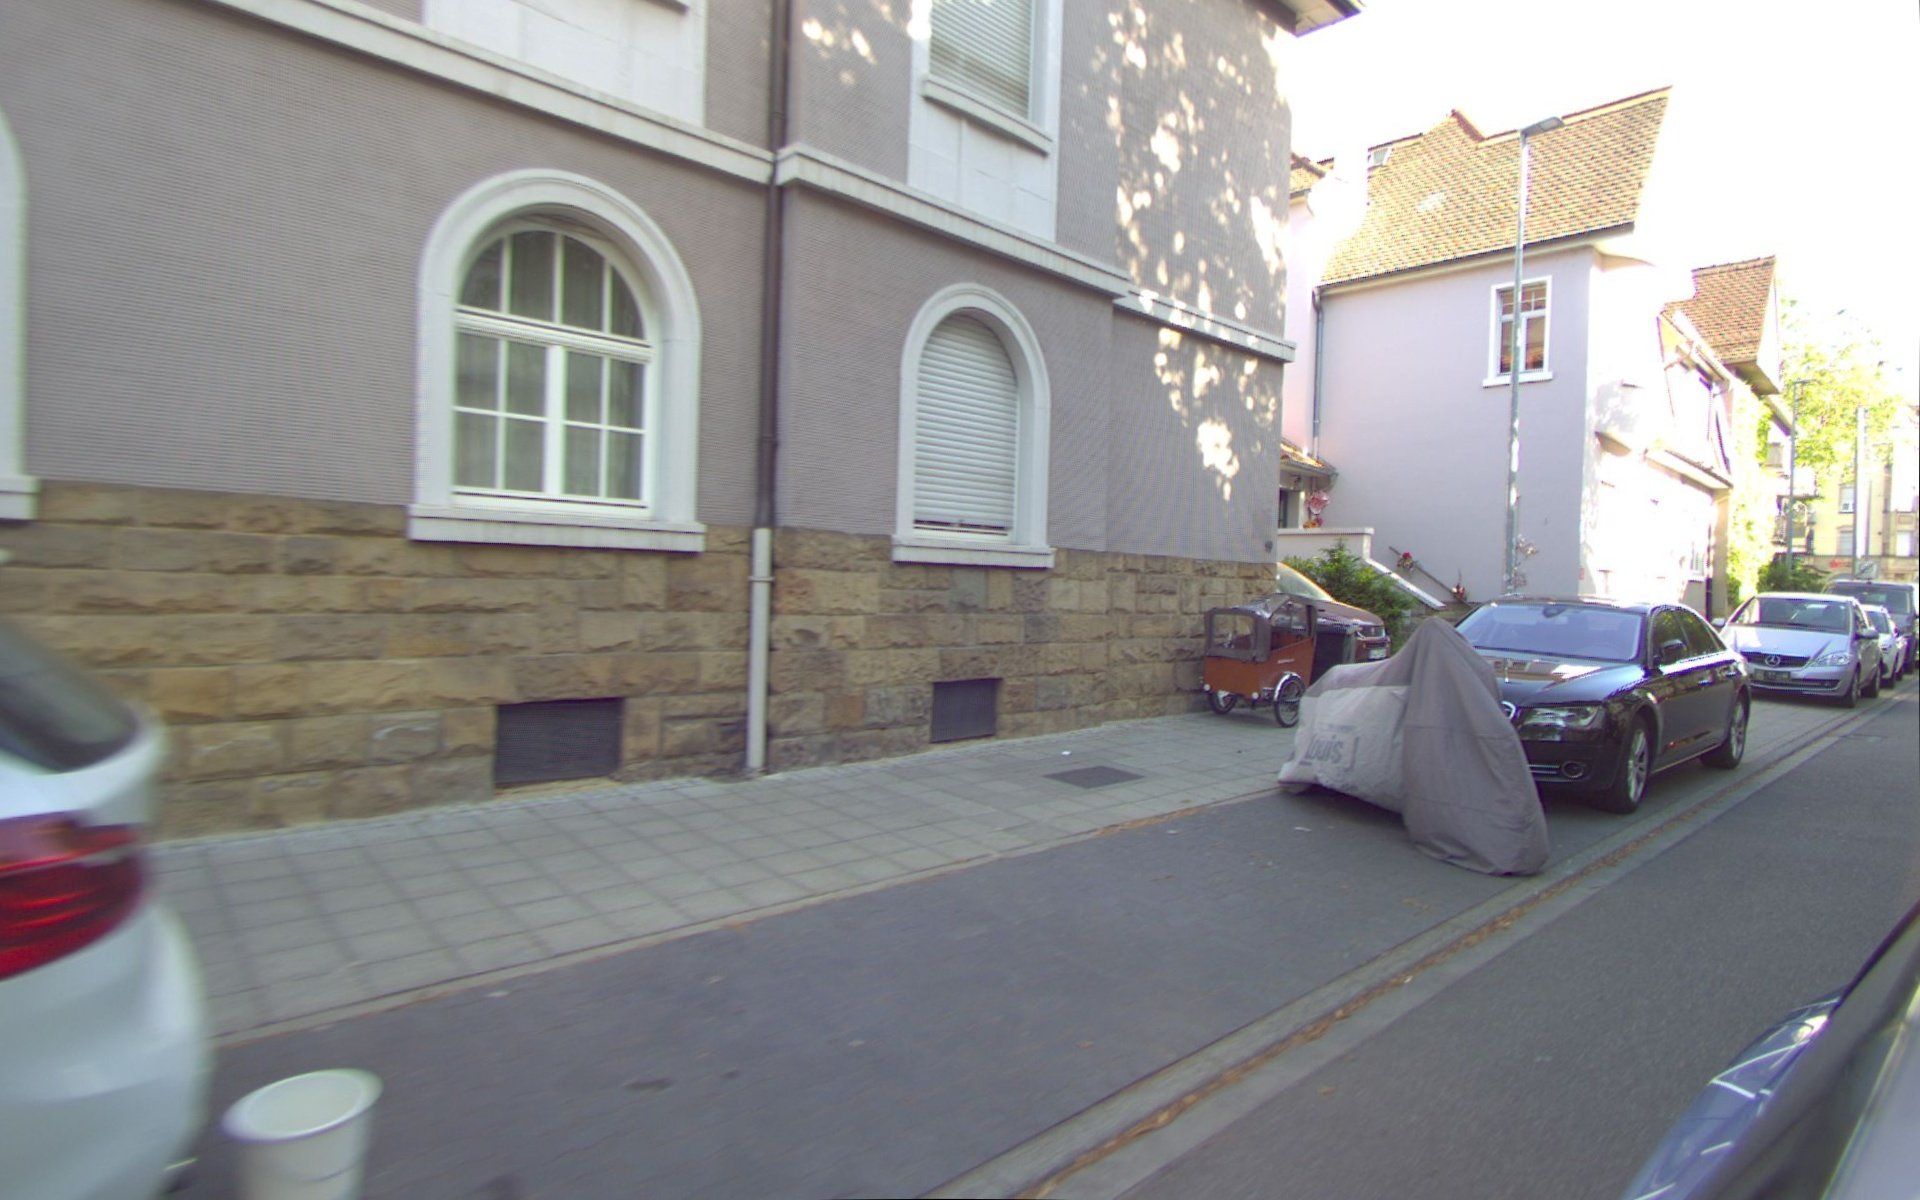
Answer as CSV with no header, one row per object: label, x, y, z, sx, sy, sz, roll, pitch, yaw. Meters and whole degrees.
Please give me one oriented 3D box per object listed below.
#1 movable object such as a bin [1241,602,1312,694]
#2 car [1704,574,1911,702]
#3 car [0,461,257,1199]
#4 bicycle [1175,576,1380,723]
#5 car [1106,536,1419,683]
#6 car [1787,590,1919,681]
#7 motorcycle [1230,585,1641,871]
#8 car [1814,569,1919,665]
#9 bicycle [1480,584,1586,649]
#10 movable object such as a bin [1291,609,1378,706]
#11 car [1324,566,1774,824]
movable object such as a bin,3.866,0.565,12.365,0.608,1.052,0.569,1,2,-45
car,13.185,0.509,15.674,3.931,1.619,1.793,1,4,-42
car,-3.213,0.516,0.850,4.087,1.558,1.702,0,4,-44
bicycle,3.398,0.463,10.719,2.212,1.354,1.084,0,2,-43
car,4.374,0.021,15.121,1.735,1.865,4.145,-1,3,-42
car,17.176,0.595,19.340,1.680,1.475,4.367,4,2,45
motorcycle,2.768,0.637,6.260,0.902,1.355,2.205,1,2,-24
car,21.371,0.345,23.324,4.700,1.939,1.868,0,4,-42
bicycle,10.607,0.292,18.779,0.389,1.114,1.637,0,2,-44
movable object such as a bin,4.415,0.655,11.923,0.814,1.052,0.648,0,2,-45
car,5.075,0.566,8.416,4.528,1.511,1.858,0,3,-42
